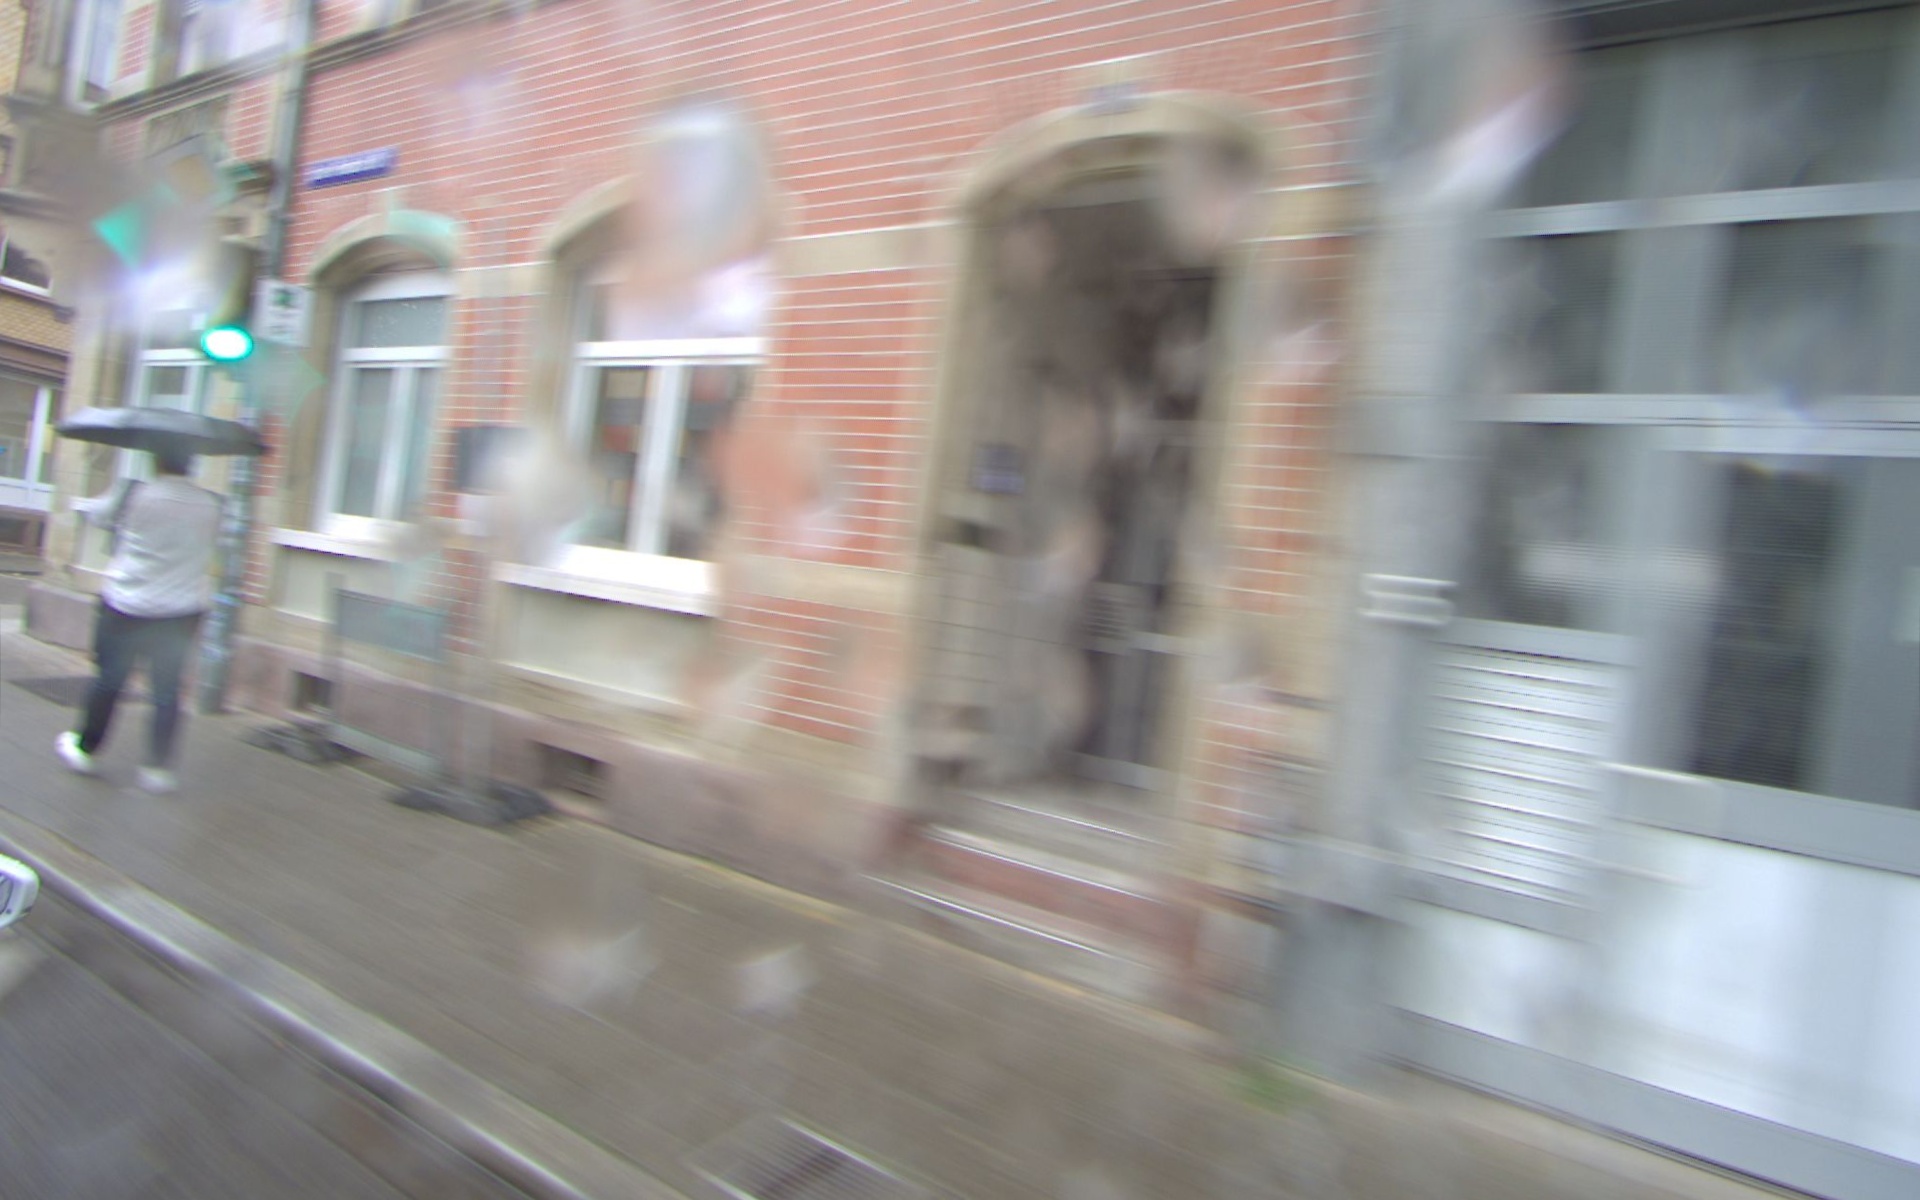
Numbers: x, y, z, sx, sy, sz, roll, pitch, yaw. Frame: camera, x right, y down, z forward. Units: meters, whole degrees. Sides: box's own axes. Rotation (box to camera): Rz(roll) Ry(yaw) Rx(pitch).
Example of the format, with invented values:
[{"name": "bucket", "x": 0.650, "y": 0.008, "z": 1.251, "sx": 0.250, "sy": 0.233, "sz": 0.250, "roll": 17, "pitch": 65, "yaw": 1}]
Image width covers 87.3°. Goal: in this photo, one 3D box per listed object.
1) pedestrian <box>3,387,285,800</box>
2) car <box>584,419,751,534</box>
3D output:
[{"name": "pedestrian", "x": -4.268, "y": -0.053, "z": 5.272, "sx": 0.914, "sy": 1.939, "sz": 0.785, "roll": 7, "pitch": 2, "yaw": 31}, {"name": "car", "x": -9.002, "y": -3.771, "z": 31.444, "sx": 2.085, "sy": 2.541, "sz": 4.746, "roll": 8, "pitch": -2, "yaw": 27}]
